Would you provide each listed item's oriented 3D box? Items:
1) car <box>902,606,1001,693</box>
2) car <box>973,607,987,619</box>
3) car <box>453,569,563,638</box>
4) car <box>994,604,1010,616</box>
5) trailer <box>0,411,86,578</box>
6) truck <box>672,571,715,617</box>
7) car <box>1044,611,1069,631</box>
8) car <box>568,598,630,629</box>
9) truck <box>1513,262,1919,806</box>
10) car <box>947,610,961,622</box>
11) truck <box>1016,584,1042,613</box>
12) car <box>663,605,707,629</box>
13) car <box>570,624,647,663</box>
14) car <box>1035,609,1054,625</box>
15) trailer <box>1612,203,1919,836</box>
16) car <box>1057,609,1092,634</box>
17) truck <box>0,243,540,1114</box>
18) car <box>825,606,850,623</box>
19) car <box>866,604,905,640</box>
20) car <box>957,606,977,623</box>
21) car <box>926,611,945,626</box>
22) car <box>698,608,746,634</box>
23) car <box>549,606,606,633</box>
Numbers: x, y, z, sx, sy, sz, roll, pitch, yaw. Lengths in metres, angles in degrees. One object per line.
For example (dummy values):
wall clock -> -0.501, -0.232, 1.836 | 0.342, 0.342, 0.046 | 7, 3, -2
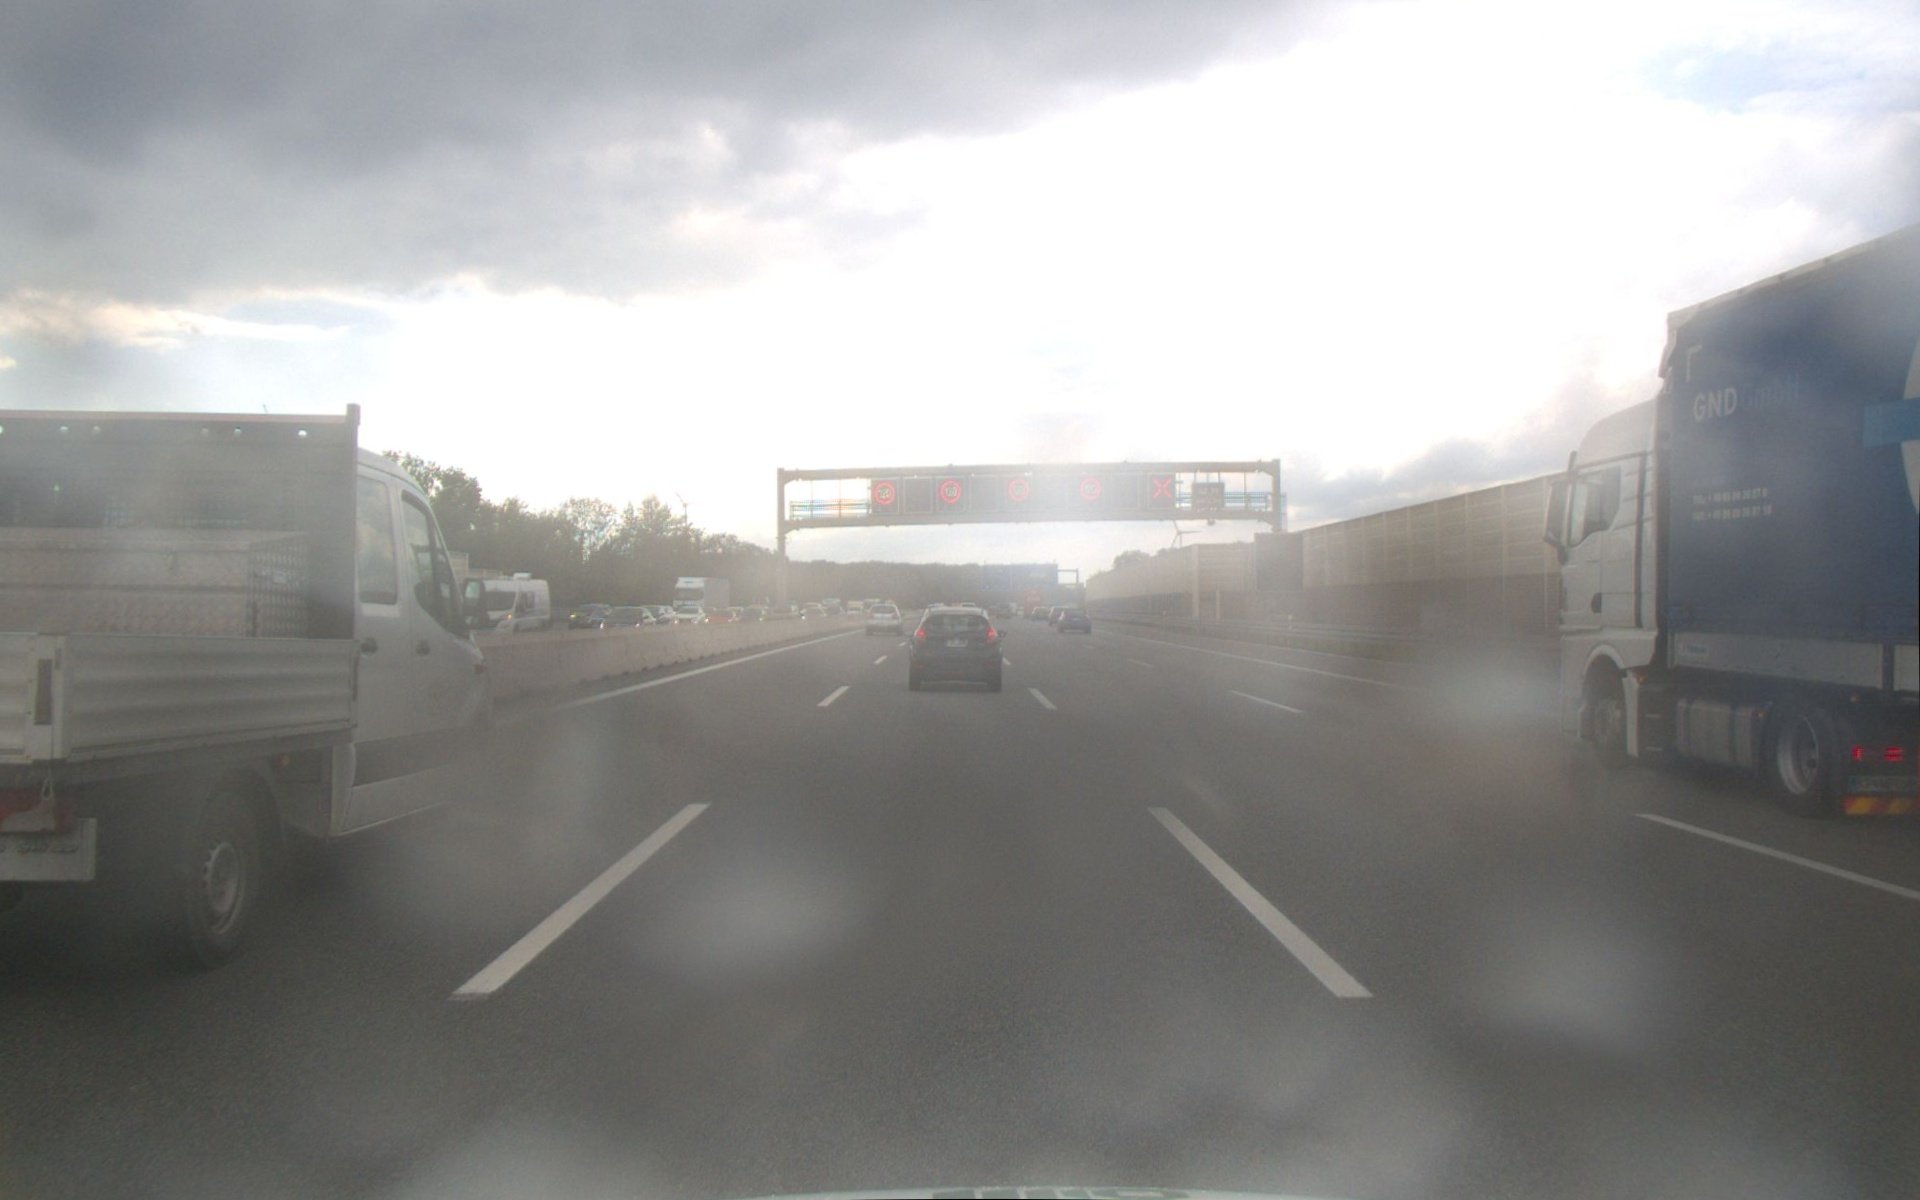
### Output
car -> -0.170, 0.853, 30.380 | 1.682, 1.441, 4.277 | 0, 0, -1
car -> 2.717, 1.752, 225.401 | 1.927, 1.588, 4.432 | -1, -1, 0
car -> -18.056, 0.158, 66.487 | 2.334, 2.594, 7.087 | 0, 0, 1
car -> 5.383, 1.286, 211.357 | 1.927, 1.588, 4.433 | -1, -1, 1
trailer -> -25.236, -2.678, 38.158 | 2.705, 4.102, 14.449 | 0, 0, -1
truck -> -24.251, -0.518, 150.746 | 2.911, 4.105, 5.726 | 0, 0, 1
car -> 7.711, 1.702, 132.457 | 1.844, 1.569, 4.433 | -1, -1, 1
car -> -18.565, 0.700, 85.242 | 2.017, 1.517, 4.998 | 0, -1, 1
truck -> 7.487, -0.495, 15.378 | 2.689, 4.105, 5.724 | 0, 0, -1
car -> -0.824, 2.296, 238.316 | 1.927, 1.588, 4.433 | -1, -1, 1
truck -> 9.256, -0.219, 223.297 | 3.087, 3.665, 12.700 | 1, 0, 1
car -> -18.243, 1.126, 109.806 | 2.017, 1.517, 4.998 | 0, -1, 1
car -> -14.322, 1.739, 67.673 | 2.017, 1.517, 4.998 | 0, -1, 1
car -> 8.867, 1.819, 174.661 | 1.844, 1.588, 4.433 | -1, -1, 1
trailer -> 7.608, -0.519, 8.330 | 2.705, 4.102, 14.449 | 0, 0, -1
car -> 6.641, 1.270, 96.498 | 1.909, 1.443, 4.233 | 0, -1, 2
truck -> -3.982, 0.209, 8.066 | 2.260, 2.482, 7.145 | 0, 0, -2
car -> -12.361, 1.506, 167.096 | 2.017, 1.674, 5.380 | 0, -1, 1
car -> -3.606, 1.041, 80.182 | 1.682, 1.652, 4.278 | 0, 0, 0
car -> 0.697, 1.383, 159.848 | 1.927, 1.588, 4.433 | -1, -1, 1
car -> -2.604, 2.013, 177.293 | 1.927, 1.588, 4.433 | -1, -1, 1
car -> -13.930, 1.216, 97.049 | 2.017, 1.517, 4.998 | 0, -1, 1
car -> -22.165, 1.116, 96.033 | 2.017, 1.517, 4.998 | 0, -1, 1
